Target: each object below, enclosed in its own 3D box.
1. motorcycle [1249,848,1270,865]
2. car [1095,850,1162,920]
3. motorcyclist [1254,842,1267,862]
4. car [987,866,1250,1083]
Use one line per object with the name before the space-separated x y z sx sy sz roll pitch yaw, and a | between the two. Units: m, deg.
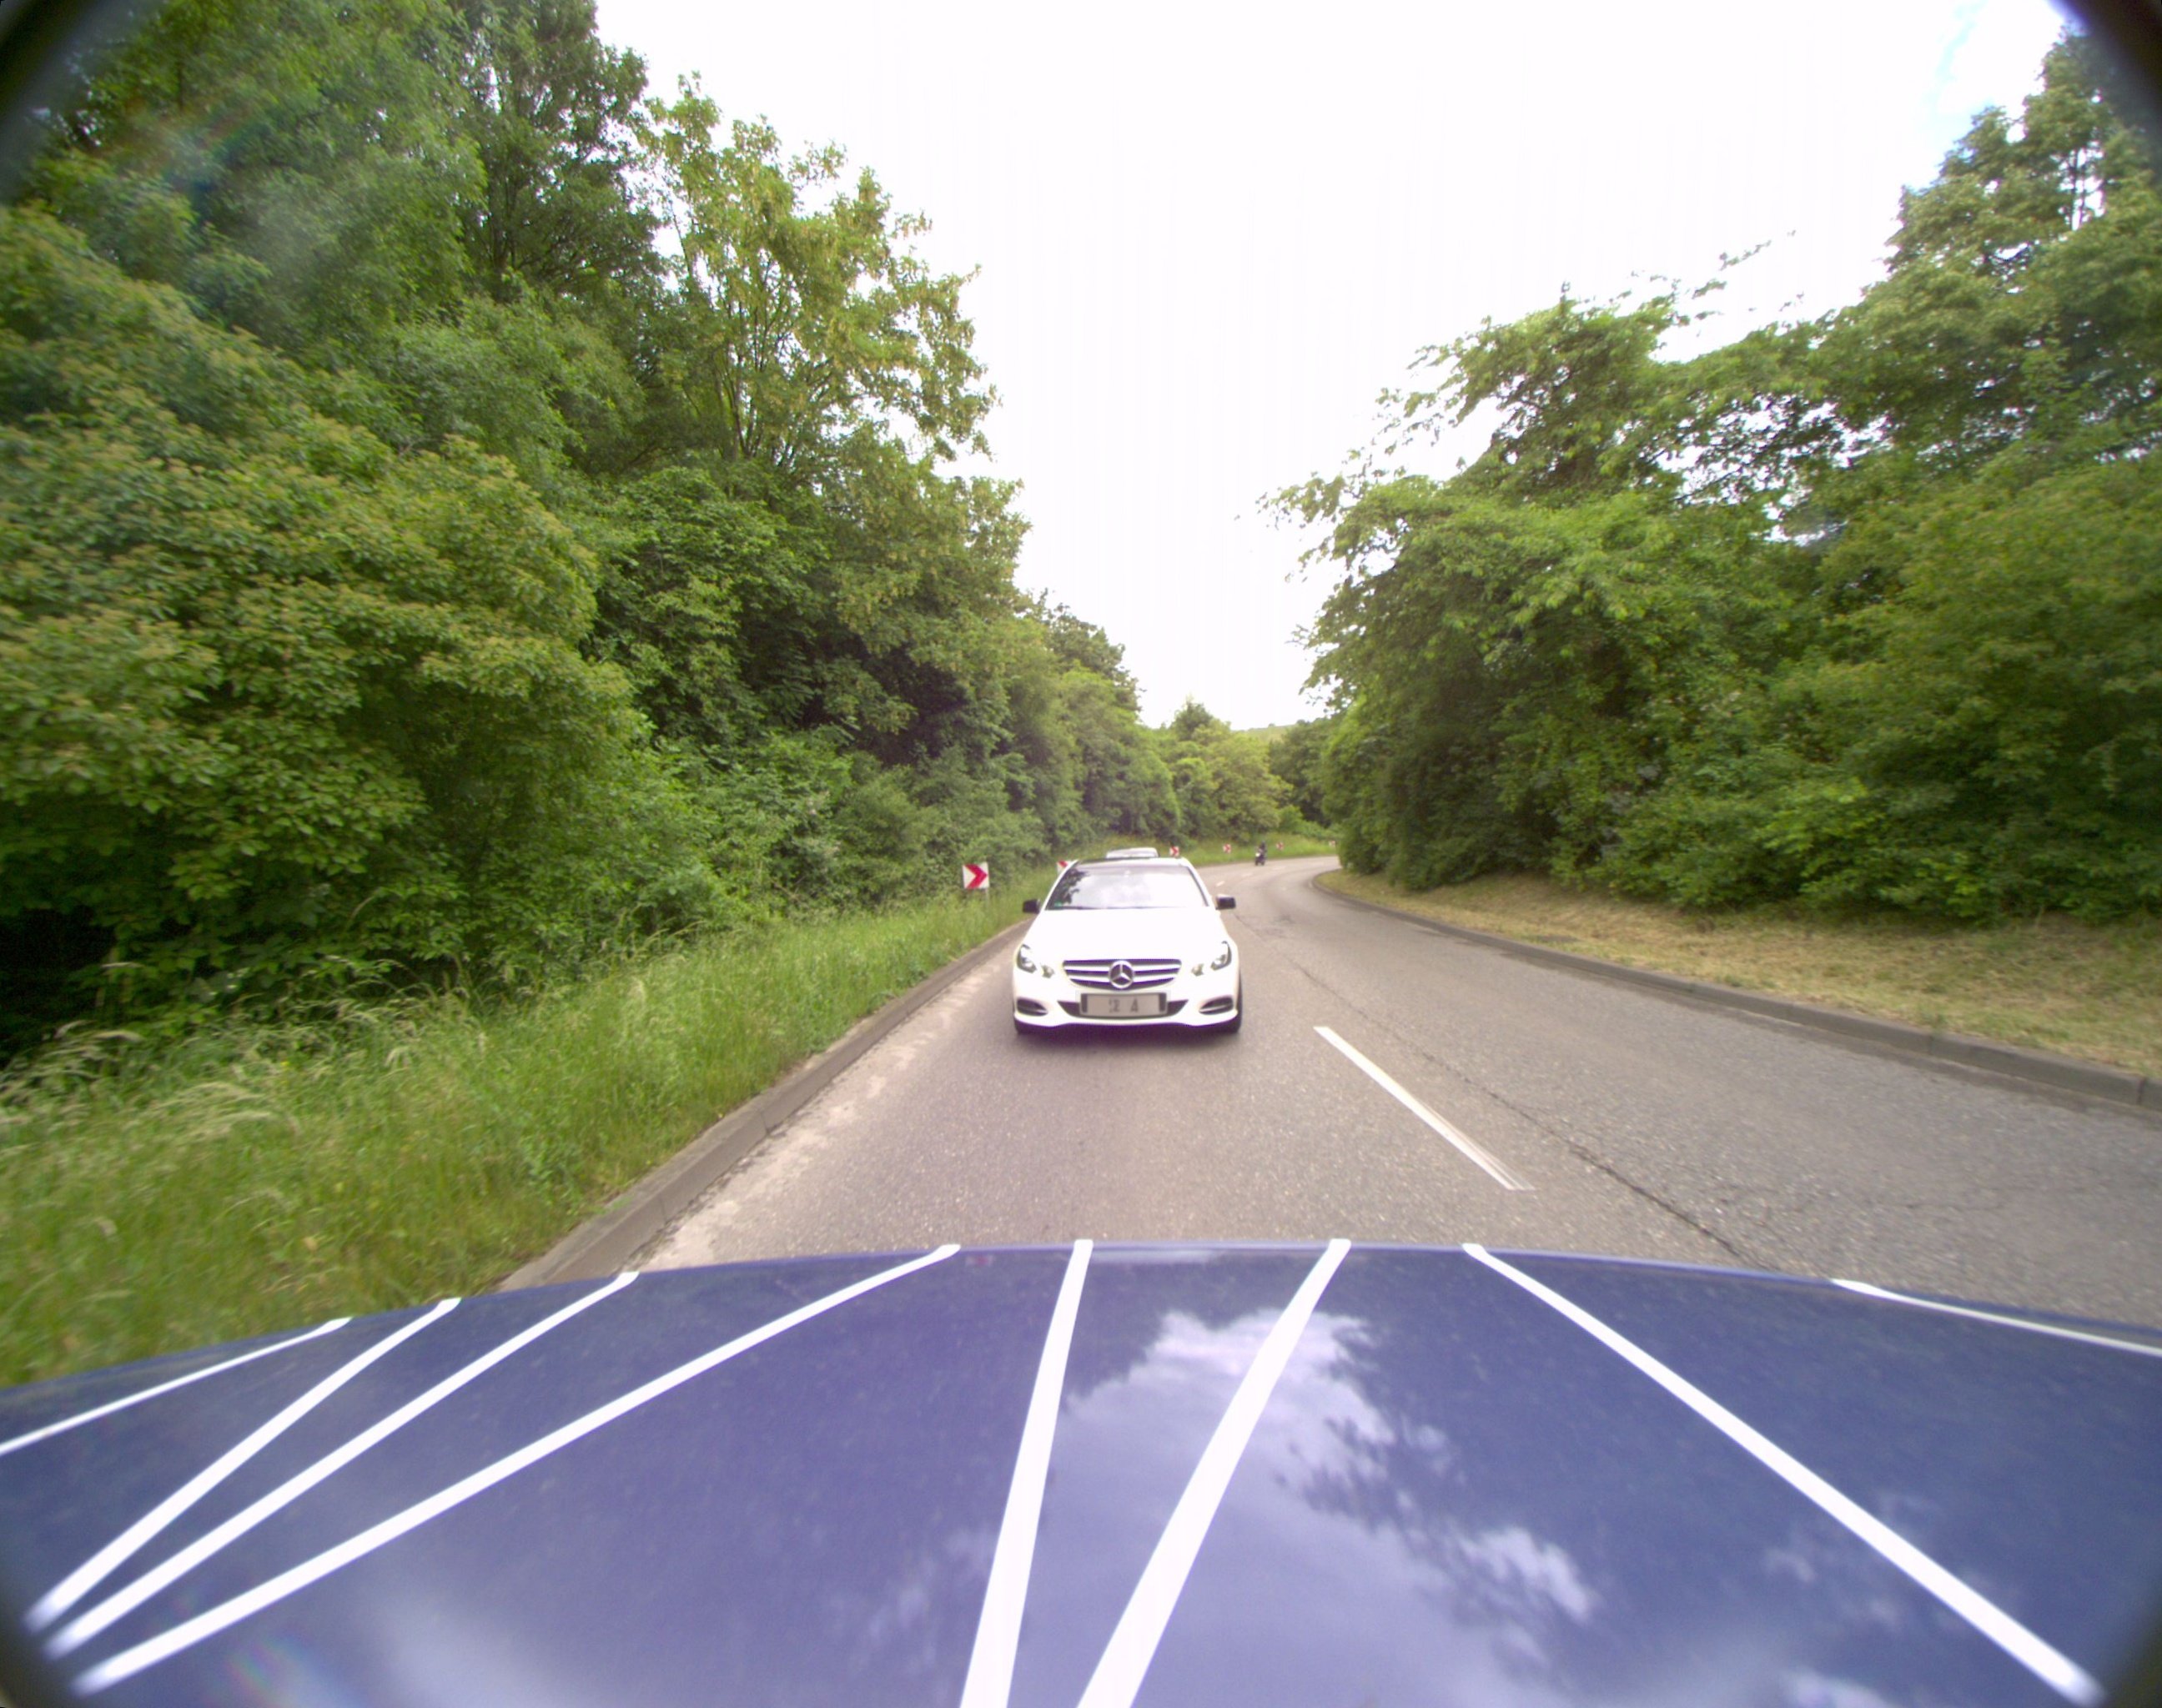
motorcycle | 12.023 0.162 51.107 0.676 1.006 1.678 3 4 37
car | 1.303 0.706 19.487 1.552 1.635 3.741 0 0 6
motorcyclist | 12.113 -0.137 51.177 0.566 1.288 0.708 4 4 37
car | 0.488 0.879 7.574 1.865 1.423 4.357 0 0 6
